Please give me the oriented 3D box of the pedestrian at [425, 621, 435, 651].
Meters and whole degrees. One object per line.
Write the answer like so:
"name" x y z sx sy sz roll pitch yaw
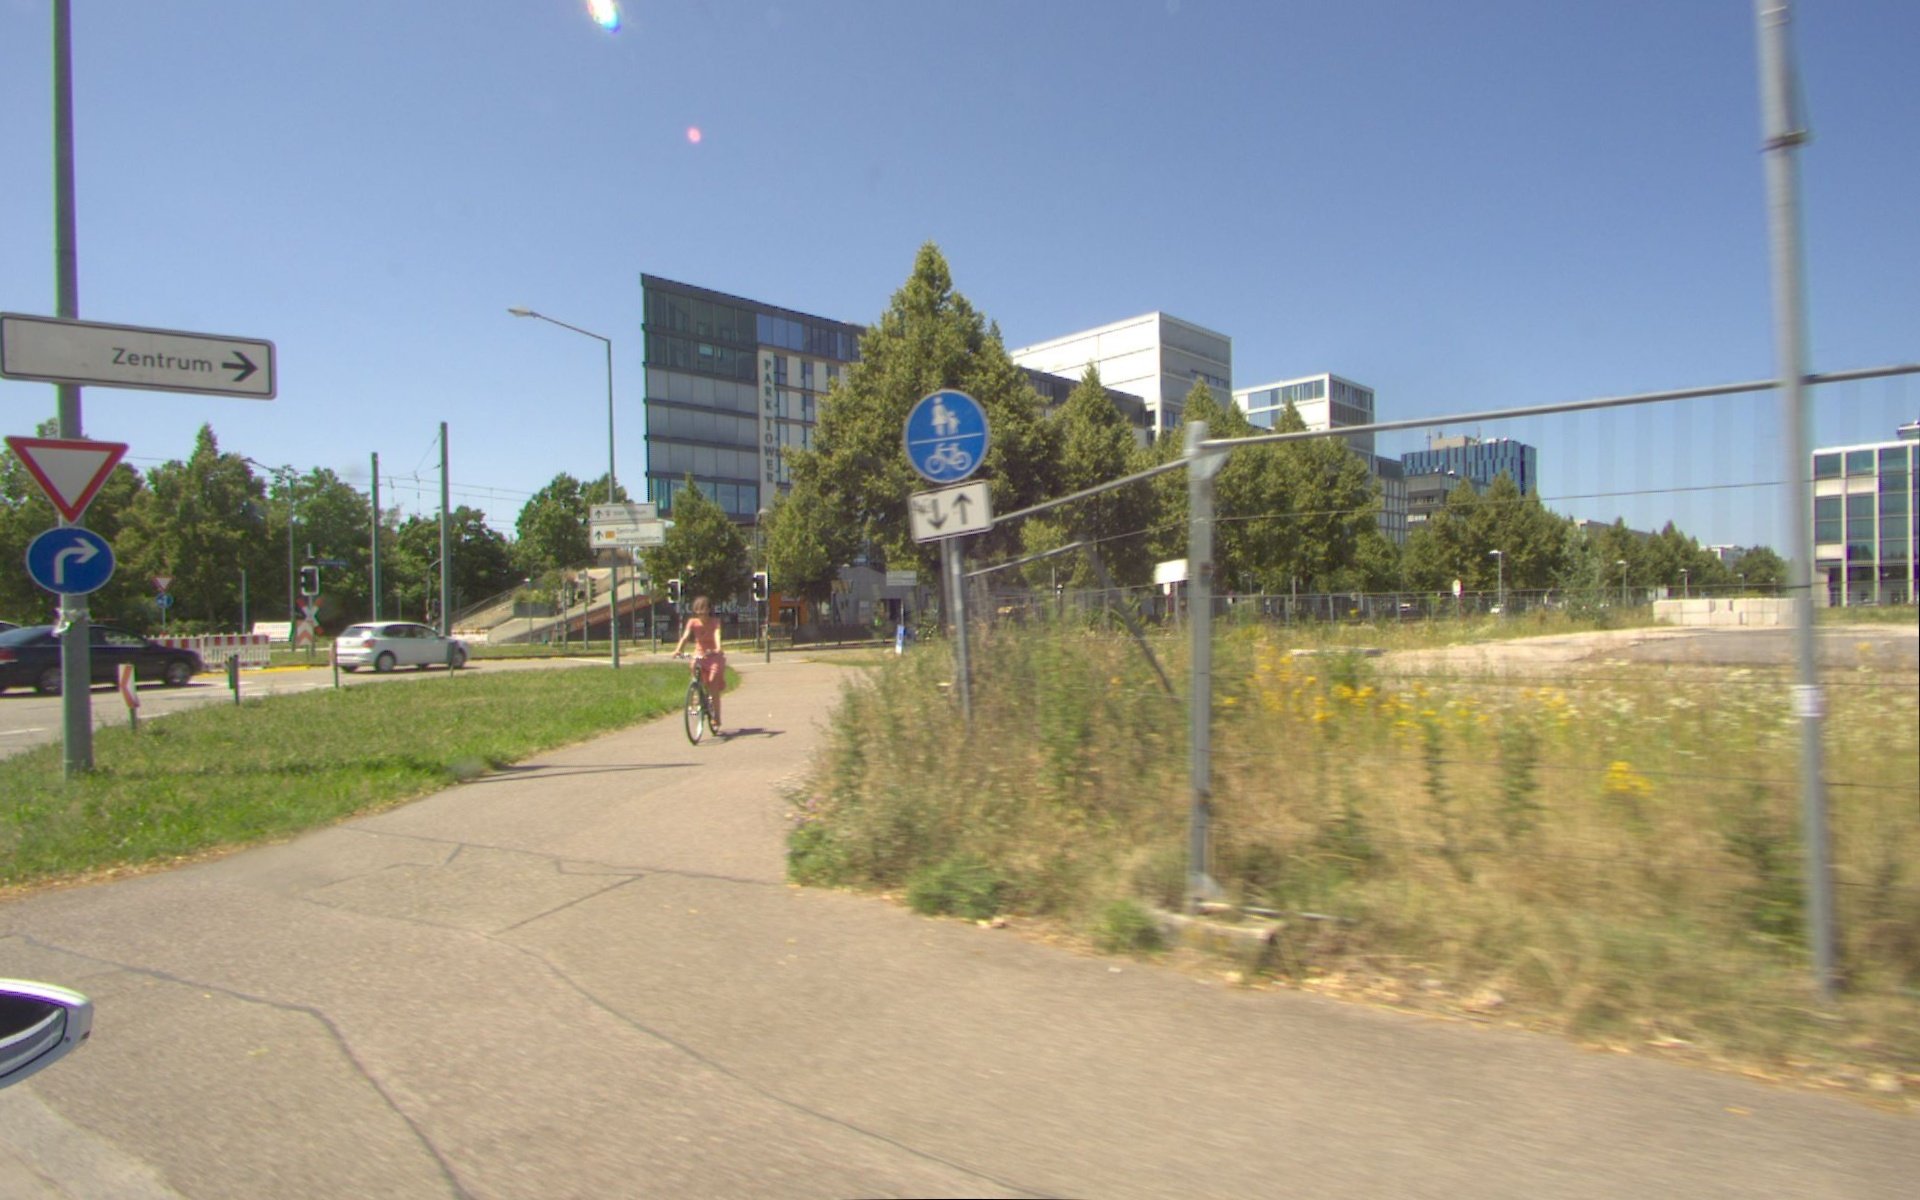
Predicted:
"pedestrian" -30.885 2.109 58.348 0.315 1.761 0.445 0 0 44

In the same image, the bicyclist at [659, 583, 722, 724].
"bicyclist" -3.337 0.650 12.439 0.634 1.685 0.710 -1 0 -8

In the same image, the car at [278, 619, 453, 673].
"car" -17.425 1.325 29.607 1.823 1.467 4.346 0 -2 18

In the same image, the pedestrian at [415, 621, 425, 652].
"pedestrian" -31.222 2.094 57.944 0.288 1.761 0.445 0 0 44

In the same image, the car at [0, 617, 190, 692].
"car" -19.497 1.120 21.418 1.962 1.467 4.759 0 -2 9

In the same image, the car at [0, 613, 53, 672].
"car" -25.350 1.080 25.205 1.964 1.505 4.360 -1 -1 -15

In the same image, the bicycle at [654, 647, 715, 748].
"bicycle" -3.376 1.155 12.396 0.431 1.071 2.088 -1 -1 -8

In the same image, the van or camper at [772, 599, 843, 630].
"van or camper" -14.367 1.366 94.641 2.357 2.859 6.729 -1 -1 42

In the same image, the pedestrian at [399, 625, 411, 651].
"pedestrian" -31.450 2.171 56.770 0.348 1.448 0.517 0 0 42
